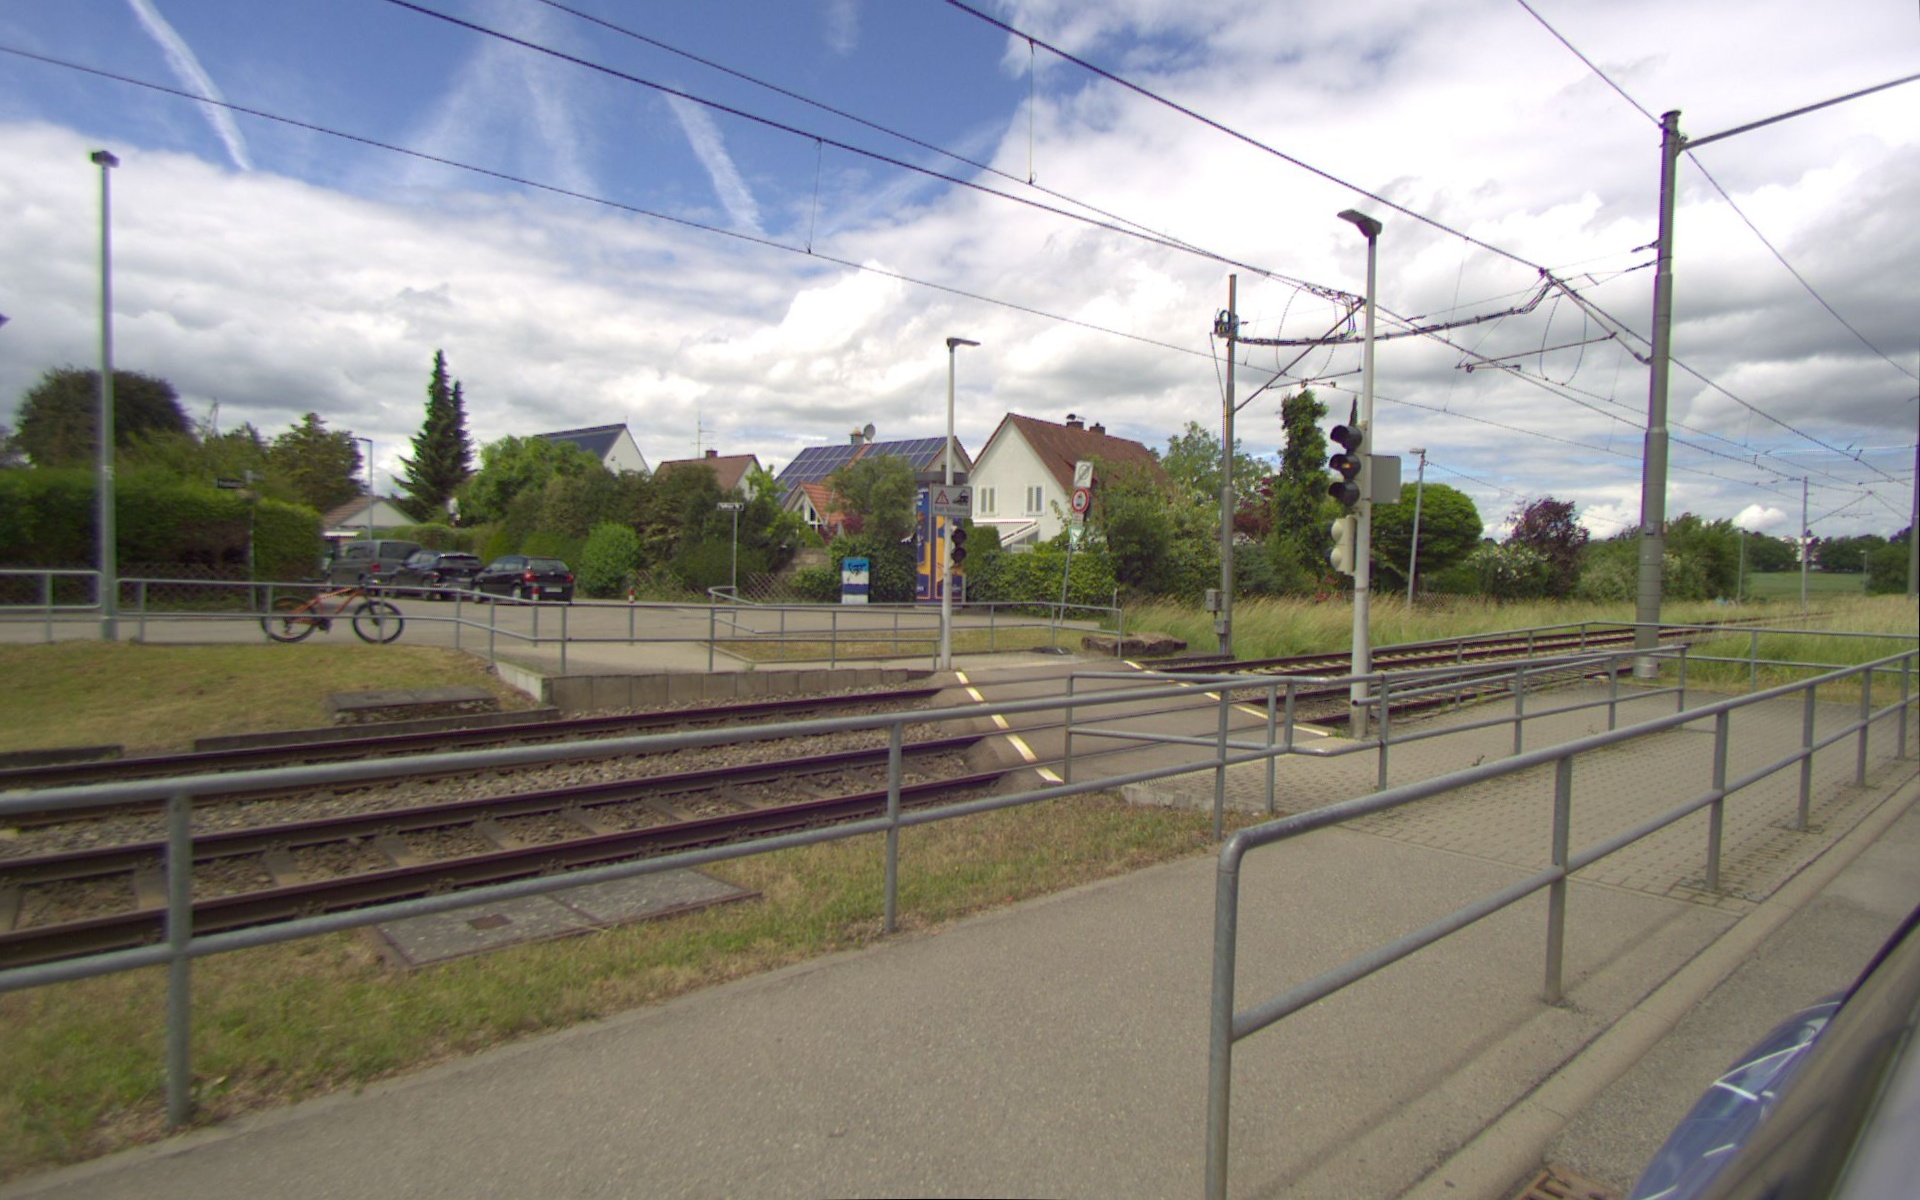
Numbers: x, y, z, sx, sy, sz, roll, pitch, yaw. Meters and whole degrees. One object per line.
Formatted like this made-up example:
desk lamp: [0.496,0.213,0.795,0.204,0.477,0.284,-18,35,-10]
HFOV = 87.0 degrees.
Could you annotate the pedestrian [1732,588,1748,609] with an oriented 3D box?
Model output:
pedestrian: [52.602,-0.108,68.243,0.653,1.448,0.600,0,0,-4]

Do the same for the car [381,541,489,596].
car: [-16.860,-1.038,32.446,3.957,1.643,1.798,3,3,42]

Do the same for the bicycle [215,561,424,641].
bicycle: [-9.132,-0.007,14.531,2.494,1.058,0.539,-1,2,-40]

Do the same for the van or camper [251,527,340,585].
van or camper: [-27.216,-1.793,41.397,3.917,2.266,2.026,3,2,40]

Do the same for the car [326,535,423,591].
car: [-20.734,-1.321,35.782,3.624,1.887,1.800,3,2,39]

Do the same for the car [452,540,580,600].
car: [-12.991,-0.885,29.560,3.709,1.643,1.802,2,2,36]

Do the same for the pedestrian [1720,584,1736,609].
pedestrian: [52.116,-0.247,68.676,0.573,1.642,0.618,0,0,-1]

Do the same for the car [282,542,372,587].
car: [-23.900,-1.355,38.190,3.624,1.643,1.800,3,2,39]
